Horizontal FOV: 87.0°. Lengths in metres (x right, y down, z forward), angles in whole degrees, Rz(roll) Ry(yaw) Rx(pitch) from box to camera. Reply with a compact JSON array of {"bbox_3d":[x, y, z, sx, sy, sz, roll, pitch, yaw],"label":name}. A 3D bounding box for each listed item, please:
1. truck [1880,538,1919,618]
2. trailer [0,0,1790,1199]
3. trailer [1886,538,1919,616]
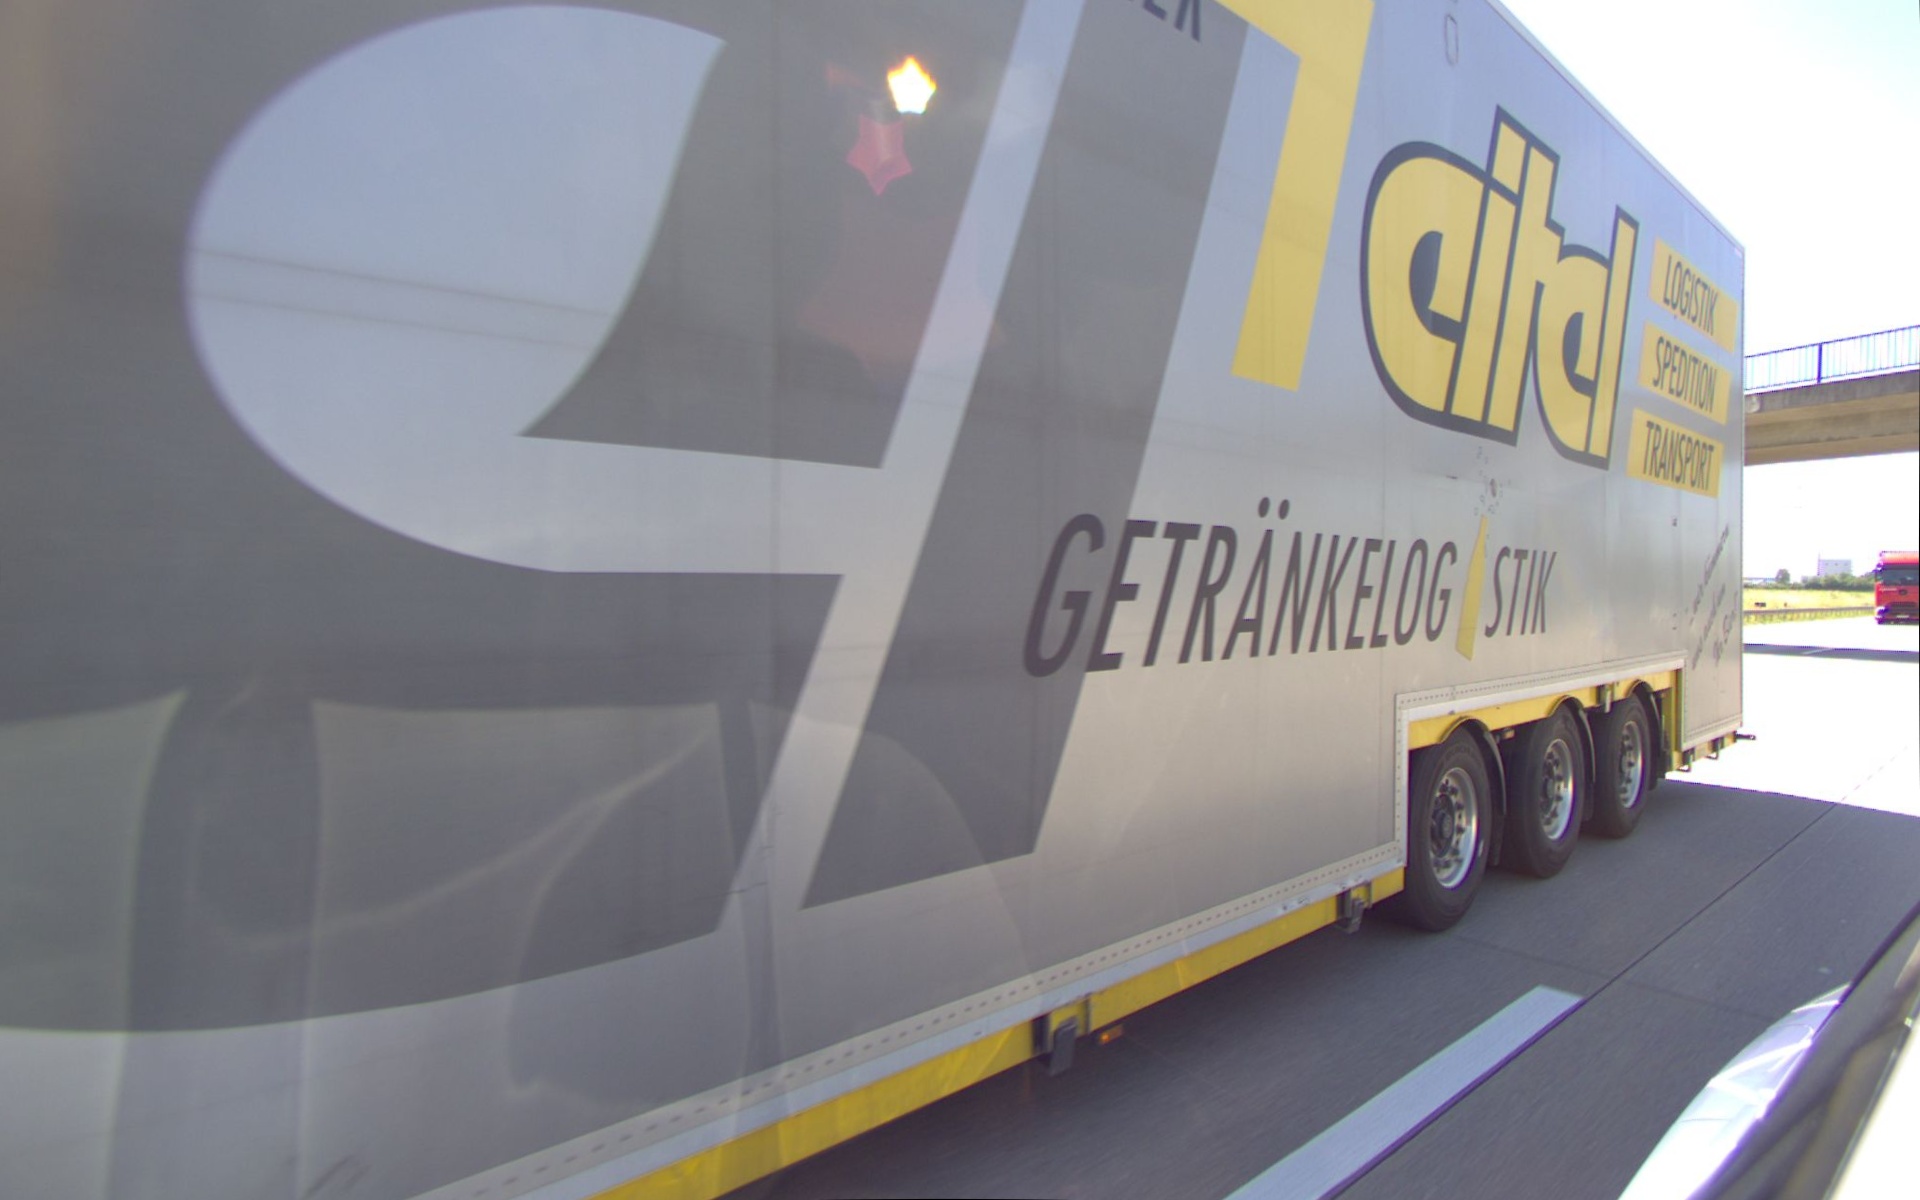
[{"bbox_3d":[52.638,-1.196,55.134,6.044,4.199,2.958,-1,0,-40],"label":"truck"},{"bbox_3d":[0.520,-0.754,4.002,14.938,4.308,1.996,-1,0,-42],"label":"trailer"},{"bbox_3d":[57.158,-1.304,59.138,13.569,4.198,2.957,-1,0,-41],"label":"trailer"}]
